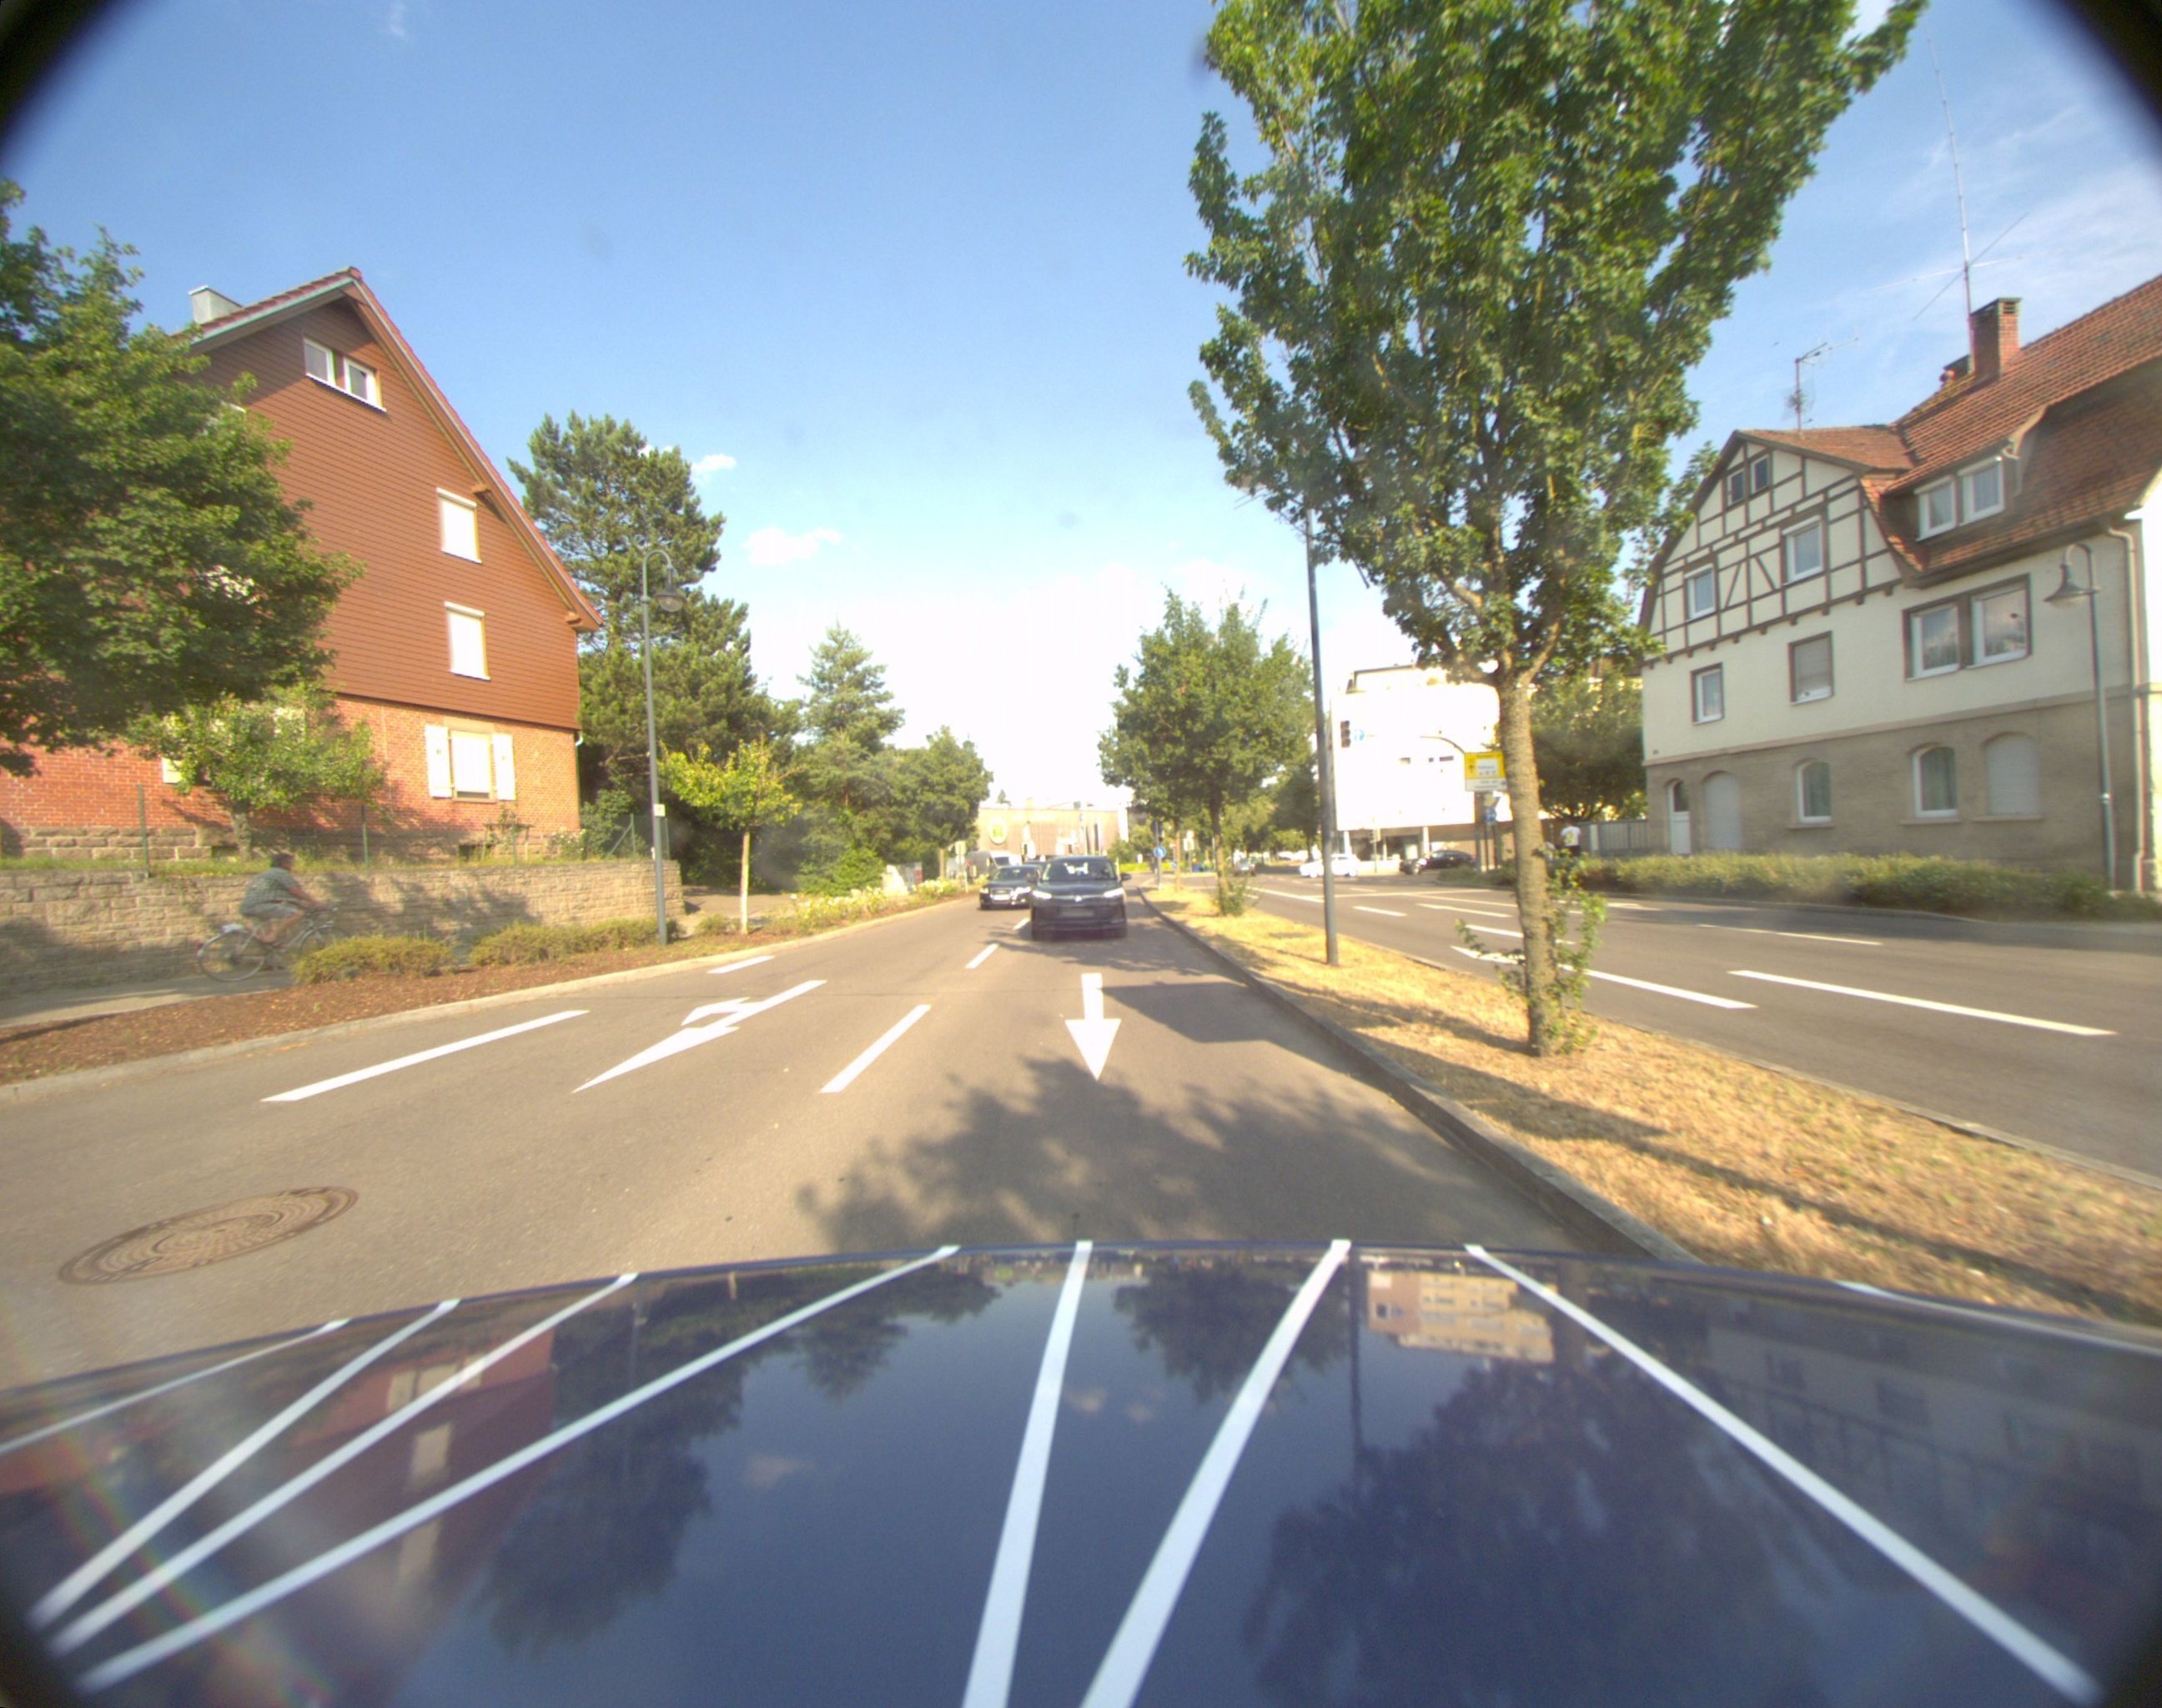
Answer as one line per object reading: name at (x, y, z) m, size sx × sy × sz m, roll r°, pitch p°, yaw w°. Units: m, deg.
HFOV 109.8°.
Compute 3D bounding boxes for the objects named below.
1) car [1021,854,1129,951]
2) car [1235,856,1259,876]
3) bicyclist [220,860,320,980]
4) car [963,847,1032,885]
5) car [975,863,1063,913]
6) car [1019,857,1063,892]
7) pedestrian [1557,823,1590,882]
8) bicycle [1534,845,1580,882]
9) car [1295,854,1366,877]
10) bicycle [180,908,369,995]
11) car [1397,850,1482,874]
car at (-0.077, 0.872, 16.072) m, size 1.894 × 1.647 × 4.729 m, roll -2°, pitch 0°, yaw 1°
car at (12.889, 0.901, 58.979) m, size 1.764 × 1.346 × 4.165 m, roll -2°, pitch 0°, yaw 12°
bicyclist at (-11.841, 0.943, 11.112) m, size 0.603 × 1.668 × 0.735 m, roll -2°, pitch 1°, yaw 13°
car at (-6.234, 0.864, 55.711) m, size 2.376 × 2.532 × 6.177 m, roll -2°, pitch 1°, yaw -34°
car at (-2.002, 1.088, 26.021) m, size 1.684 × 1.427 × 4.593 m, roll -2°, pitch 0°, yaw 12°
car at (-1.981, 1.008, 38.803) m, size 1.886 × 1.599 × 4.127 m, roll -2°, pitch 0°, yaw 1°
pedestrian at (16.708, -0.051, 25.801) m, size 0.699 × 1.971 × 0.588 m, roll -2°, pitch 1°, yaw 2°
bicycle at (16.727, 0.317, 26.721) m, size 0.681 × 1.215 × 1.514 m, roll -2°, pitch 1°, yaw 2°
car at (16.478, 0.760, 50.341) m, size 4.126 × 1.346 × 1.768 m, roll -2°, pitch 1°, yaw 6°
bicycle at (-11.798, 1.386, 11.217) m, size 0.522 × 1.012 × 1.877 m, roll -2°, pitch 1°, yaw 13°
car at (23.103, 0.536, 49.121) m, size 4.661 × 1.346 × 1.768 m, roll -2°, pitch 1°, yaw 8°
